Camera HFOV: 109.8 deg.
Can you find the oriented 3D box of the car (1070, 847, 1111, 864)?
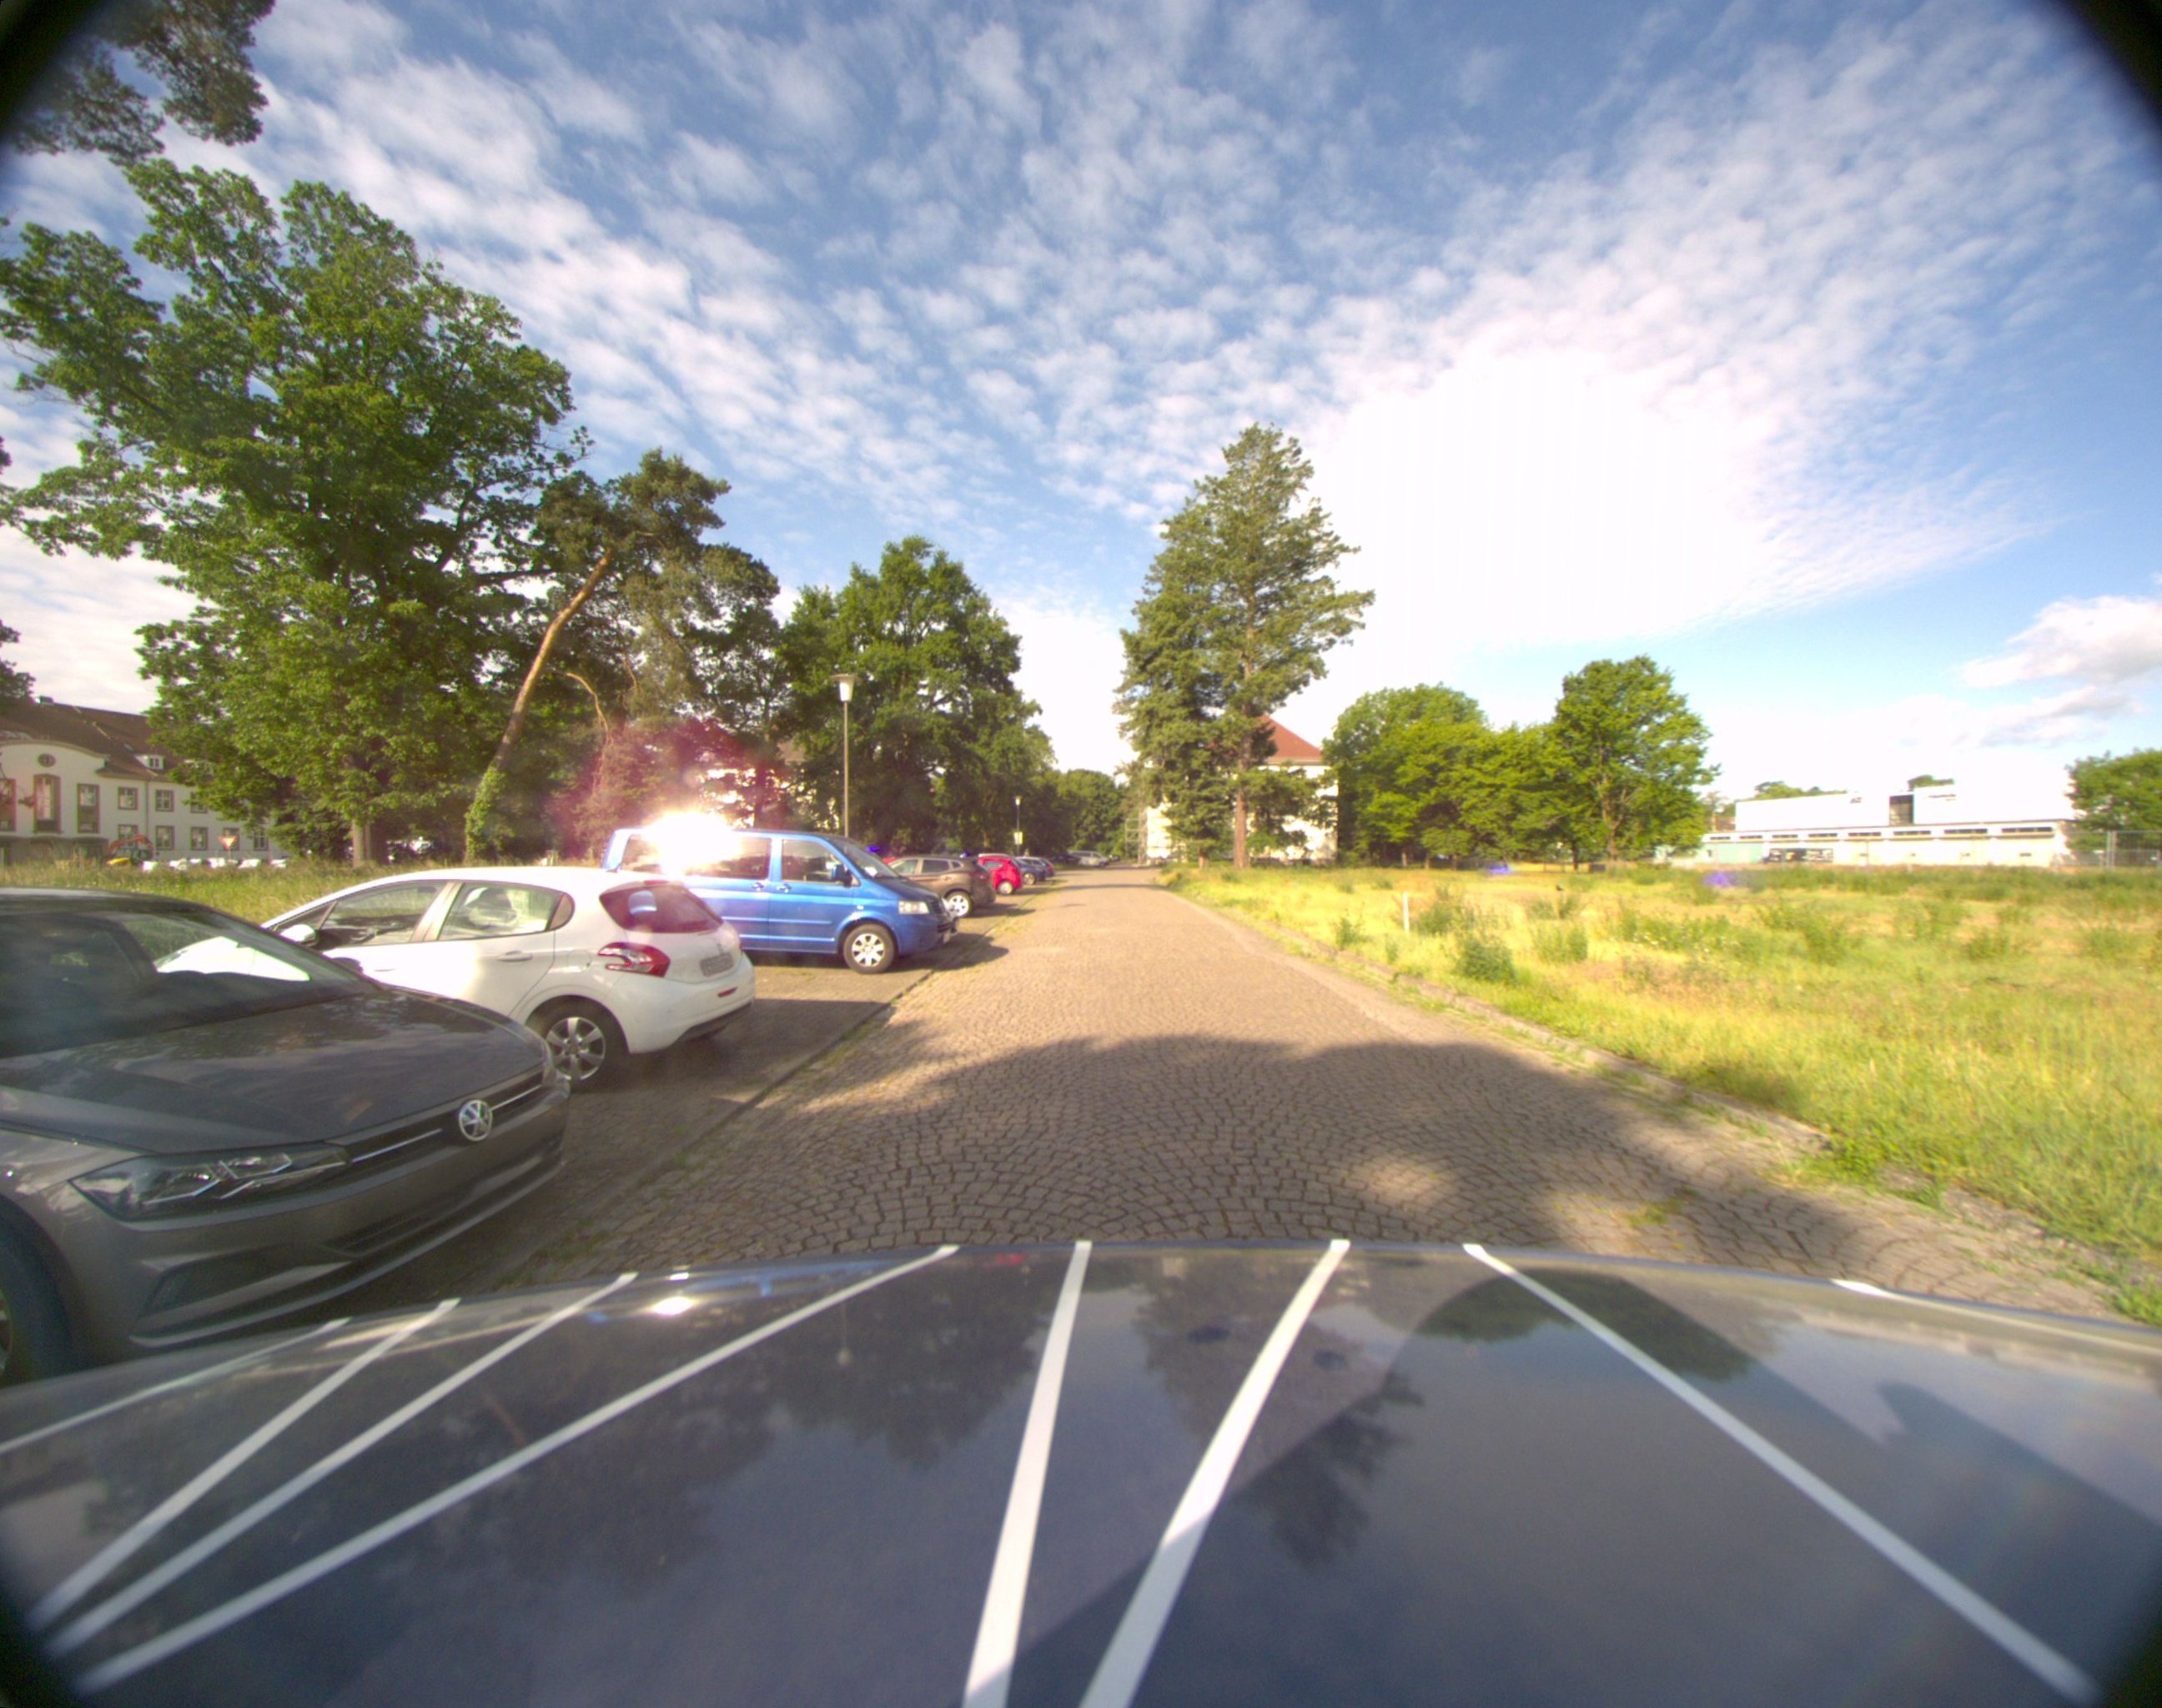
[{"bbox_3d":[1.160,0.186,93.946,4.933,2.002,1.999,1,1,-5],"label":"car"}]

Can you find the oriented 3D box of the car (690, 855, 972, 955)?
[{"bbox_3d":[-4.345,0.852,13.722,4.408,1.568,1.939,1,1,1],"label":"car"}]

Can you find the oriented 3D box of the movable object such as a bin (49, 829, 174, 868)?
[{"bbox_3d":[-87.855,-0.520,69.034,6.460,3.282,2.859,-3,2,-42],"label":"movable object such as a bin"}]

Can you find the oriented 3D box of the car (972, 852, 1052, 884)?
[{"bbox_3d":[-3.644,0.726,40.566,4.097,1.548,1.853,1,0,0],"label":"car"}]

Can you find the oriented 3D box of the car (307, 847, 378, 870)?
[{"bbox_3d":[-66.740,0.387,68.792,1.906,1.928,4.395,-2,1,2],"label":"car"}]

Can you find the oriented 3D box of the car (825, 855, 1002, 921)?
[{"bbox_3d":[-4.268,0.852,19.947,4.237,1.589,1.934,0,1,-2],"label":"car"}]

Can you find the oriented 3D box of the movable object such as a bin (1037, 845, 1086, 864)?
[{"bbox_3d":[-2.094,0.075,81.060,4.865,2.002,2.002,-1,0,14],"label":"movable object such as a bin"}]

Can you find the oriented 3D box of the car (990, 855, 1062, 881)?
[{"bbox_3d":[-3.235,0.792,45.250,4.097,1.415,1.784,1,0,0],"label":"car"}]

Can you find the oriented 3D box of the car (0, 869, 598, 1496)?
[{"bbox_3d":[-4.262,0.819,2.841,3.716,1.440,1.856,1,0,2],"label":"car"}]

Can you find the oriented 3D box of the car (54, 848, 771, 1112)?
[{"bbox_3d":[-4.515,0.772,5.571,3.716,1.525,1.761,1,0,2],"label":"car"}]

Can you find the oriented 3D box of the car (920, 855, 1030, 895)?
[{"bbox_3d":[-4.176,0.814,30.297,4.097,1.451,1.853,1,0,0],"label":"car"}]

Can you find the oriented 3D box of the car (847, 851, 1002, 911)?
[{"bbox_3d":[-4.563,0.766,22.658,4.237,1.589,1.934,1,1,-2],"label":"car"}]

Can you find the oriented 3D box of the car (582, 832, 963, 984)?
[{"bbox_3d":[-4.267,0.714,11.100,4.710,1.924,2.000,1,1,1],"label":"car"}]
